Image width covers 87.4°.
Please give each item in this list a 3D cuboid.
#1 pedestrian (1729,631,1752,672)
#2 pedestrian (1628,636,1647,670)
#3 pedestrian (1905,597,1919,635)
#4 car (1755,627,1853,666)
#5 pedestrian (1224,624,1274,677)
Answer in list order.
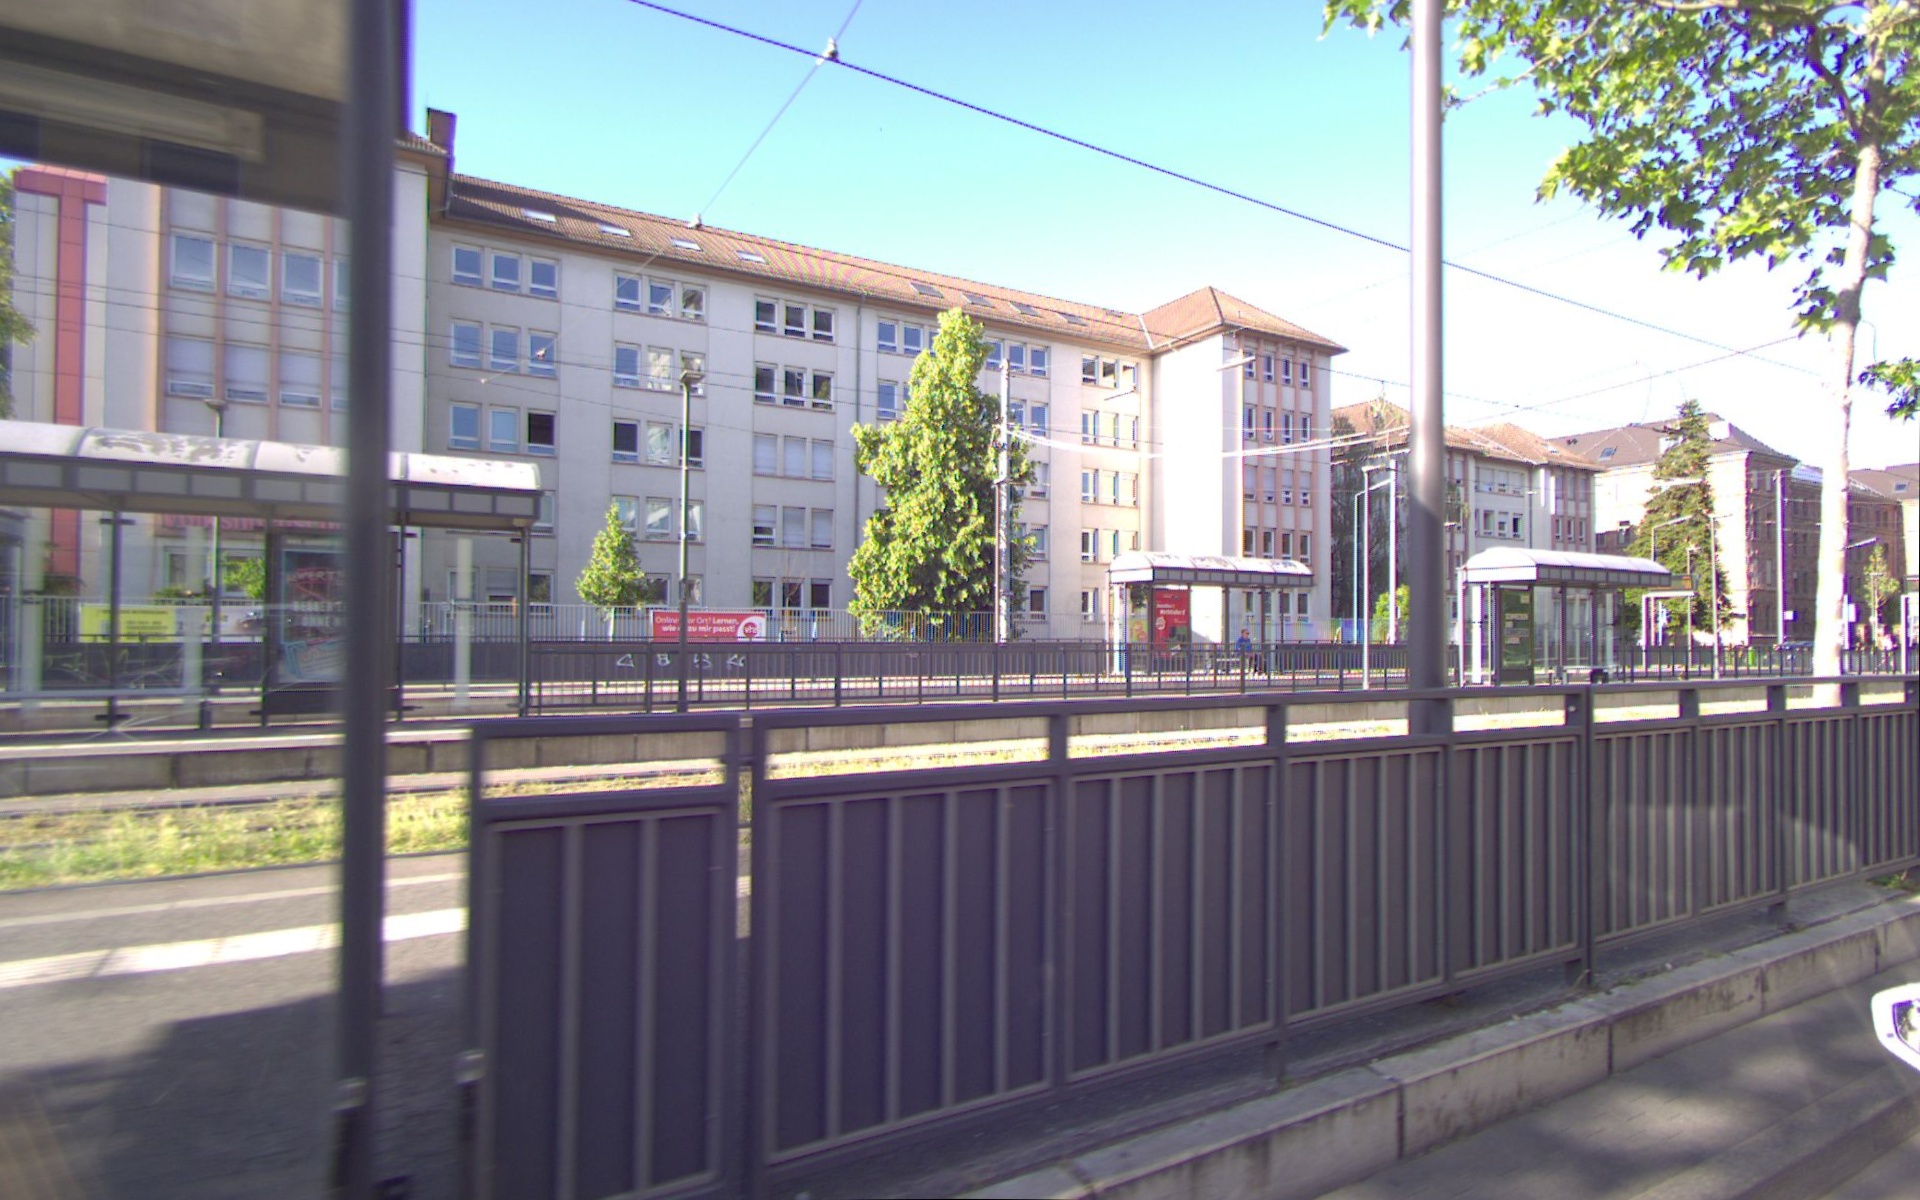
[{"bbox_3d":[39.358,2.594,50.642,0.850,2.040,0.659,1,-2,-30],"label":"pedestrian"},{"bbox_3d":[37.581,2.920,55.739,0.566,1.861,0.689,1,-2,-30],"label":"pedestrian"},{"bbox_3d":[44.676,0.766,46.635,0.720,1.759,0.950,1,-1,-27],"label":"pedestrian"},{"bbox_3d":[38.751,2.129,46.124,4.094,1.729,1.987,1,-2,-26],"label":"car"},{"bbox_3d":[7.737,1.336,26.934,0.869,1.394,0.970,1,-1,-30],"label":"pedestrian"}]
